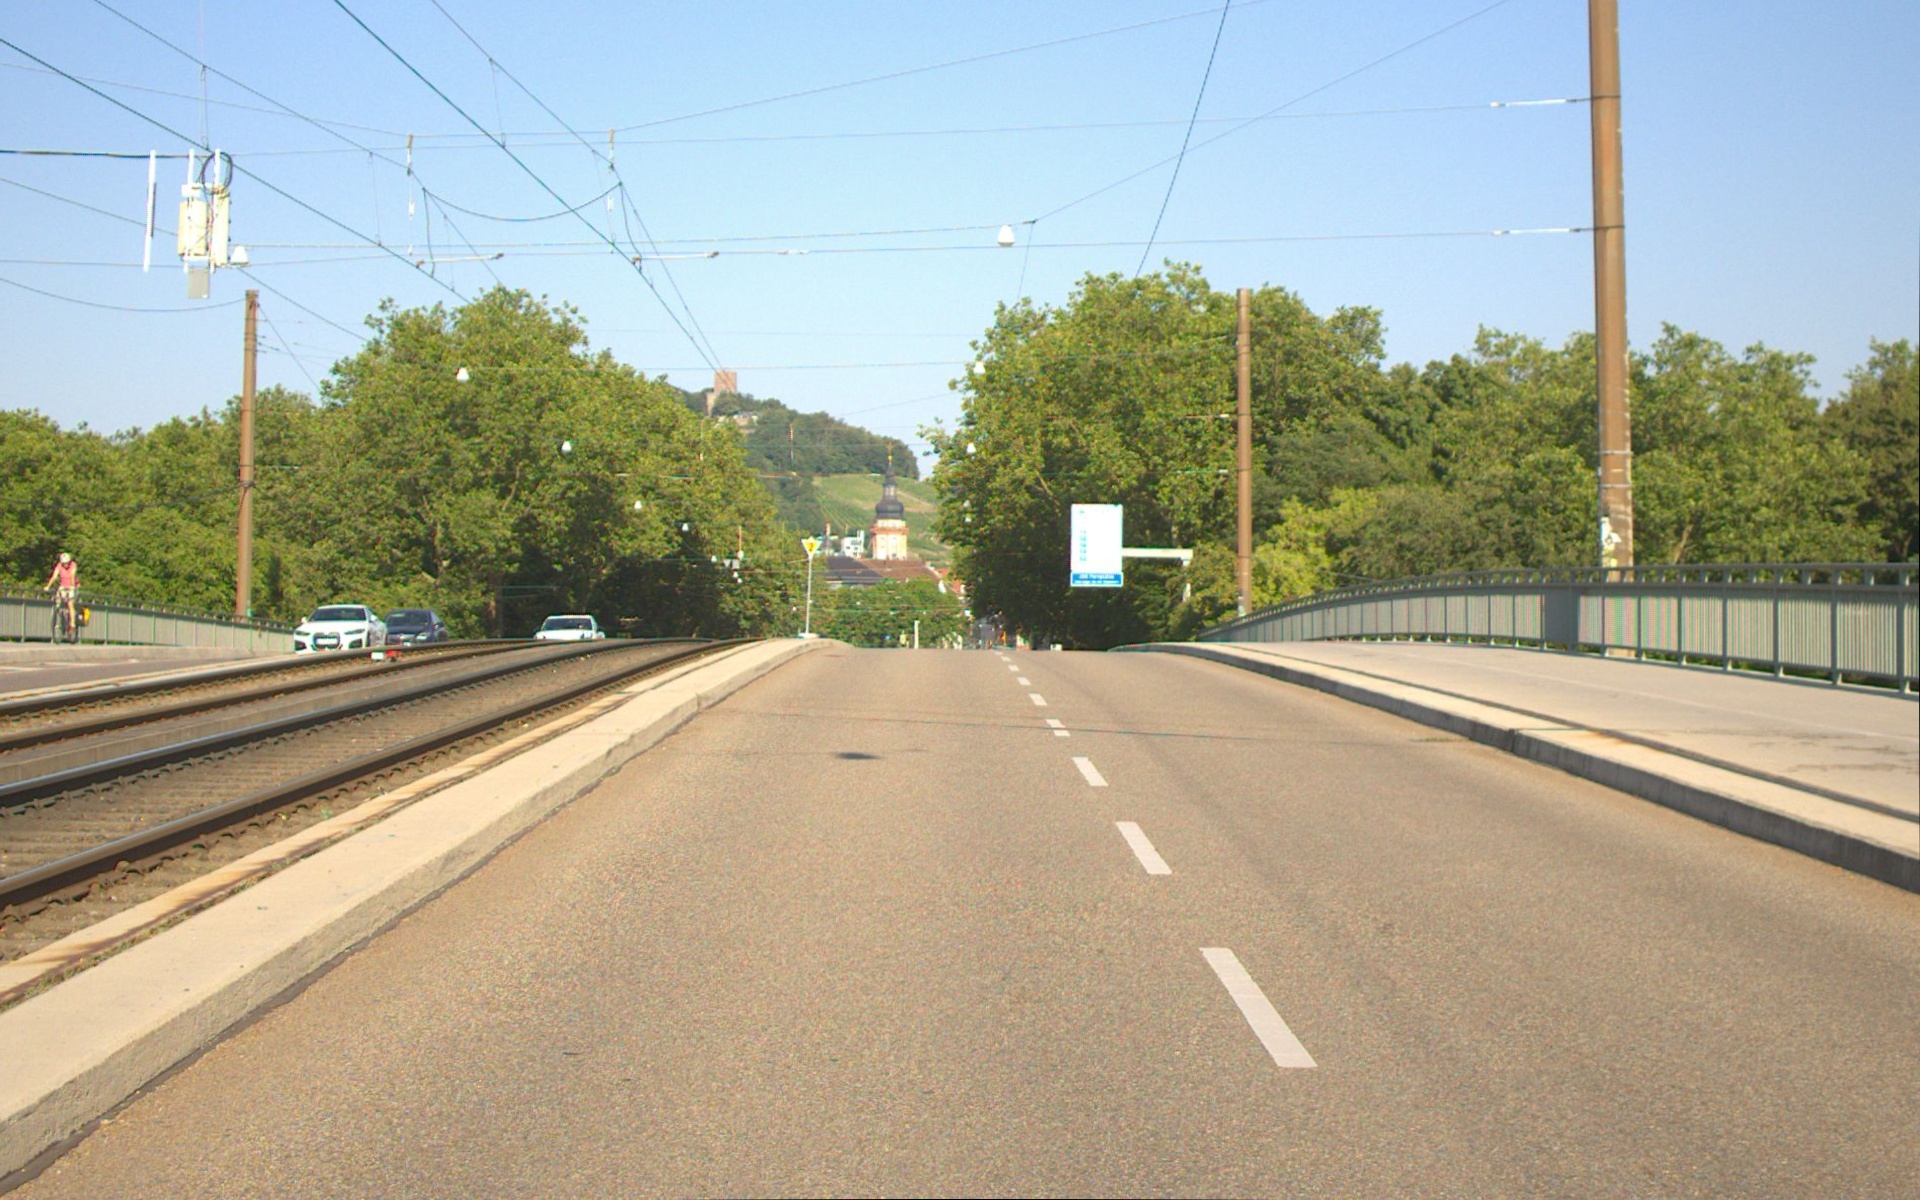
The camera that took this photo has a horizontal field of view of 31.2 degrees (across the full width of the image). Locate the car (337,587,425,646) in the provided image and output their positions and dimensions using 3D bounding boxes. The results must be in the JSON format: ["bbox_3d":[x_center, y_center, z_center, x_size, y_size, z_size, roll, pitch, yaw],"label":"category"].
[{"bbox_3d":[-16.489,0.461,98.106,1.779,1.645,4.447,1,0,0],"label":"car"}]

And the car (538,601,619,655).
[{"bbox_3d":[-11.978,0.869,108.119,2.001,1.631,5.090,1,0,0],"label":"car"}]

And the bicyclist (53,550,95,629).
[{"bbox_3d":[-18.366,-0.218,71.288,0.625,1.627,0.935,1,0,-1],"label":"bicyclist"}]

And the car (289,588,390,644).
[{"bbox_3d":[-15.583,0.404,86.567,1.684,1.352,4.920,1,0,0],"label":"car"}]

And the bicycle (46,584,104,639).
[{"bbox_3d":[-18.373,0.242,71.420,0.625,1.119,2.260,1,0,-1],"label":"bicycle"}]
